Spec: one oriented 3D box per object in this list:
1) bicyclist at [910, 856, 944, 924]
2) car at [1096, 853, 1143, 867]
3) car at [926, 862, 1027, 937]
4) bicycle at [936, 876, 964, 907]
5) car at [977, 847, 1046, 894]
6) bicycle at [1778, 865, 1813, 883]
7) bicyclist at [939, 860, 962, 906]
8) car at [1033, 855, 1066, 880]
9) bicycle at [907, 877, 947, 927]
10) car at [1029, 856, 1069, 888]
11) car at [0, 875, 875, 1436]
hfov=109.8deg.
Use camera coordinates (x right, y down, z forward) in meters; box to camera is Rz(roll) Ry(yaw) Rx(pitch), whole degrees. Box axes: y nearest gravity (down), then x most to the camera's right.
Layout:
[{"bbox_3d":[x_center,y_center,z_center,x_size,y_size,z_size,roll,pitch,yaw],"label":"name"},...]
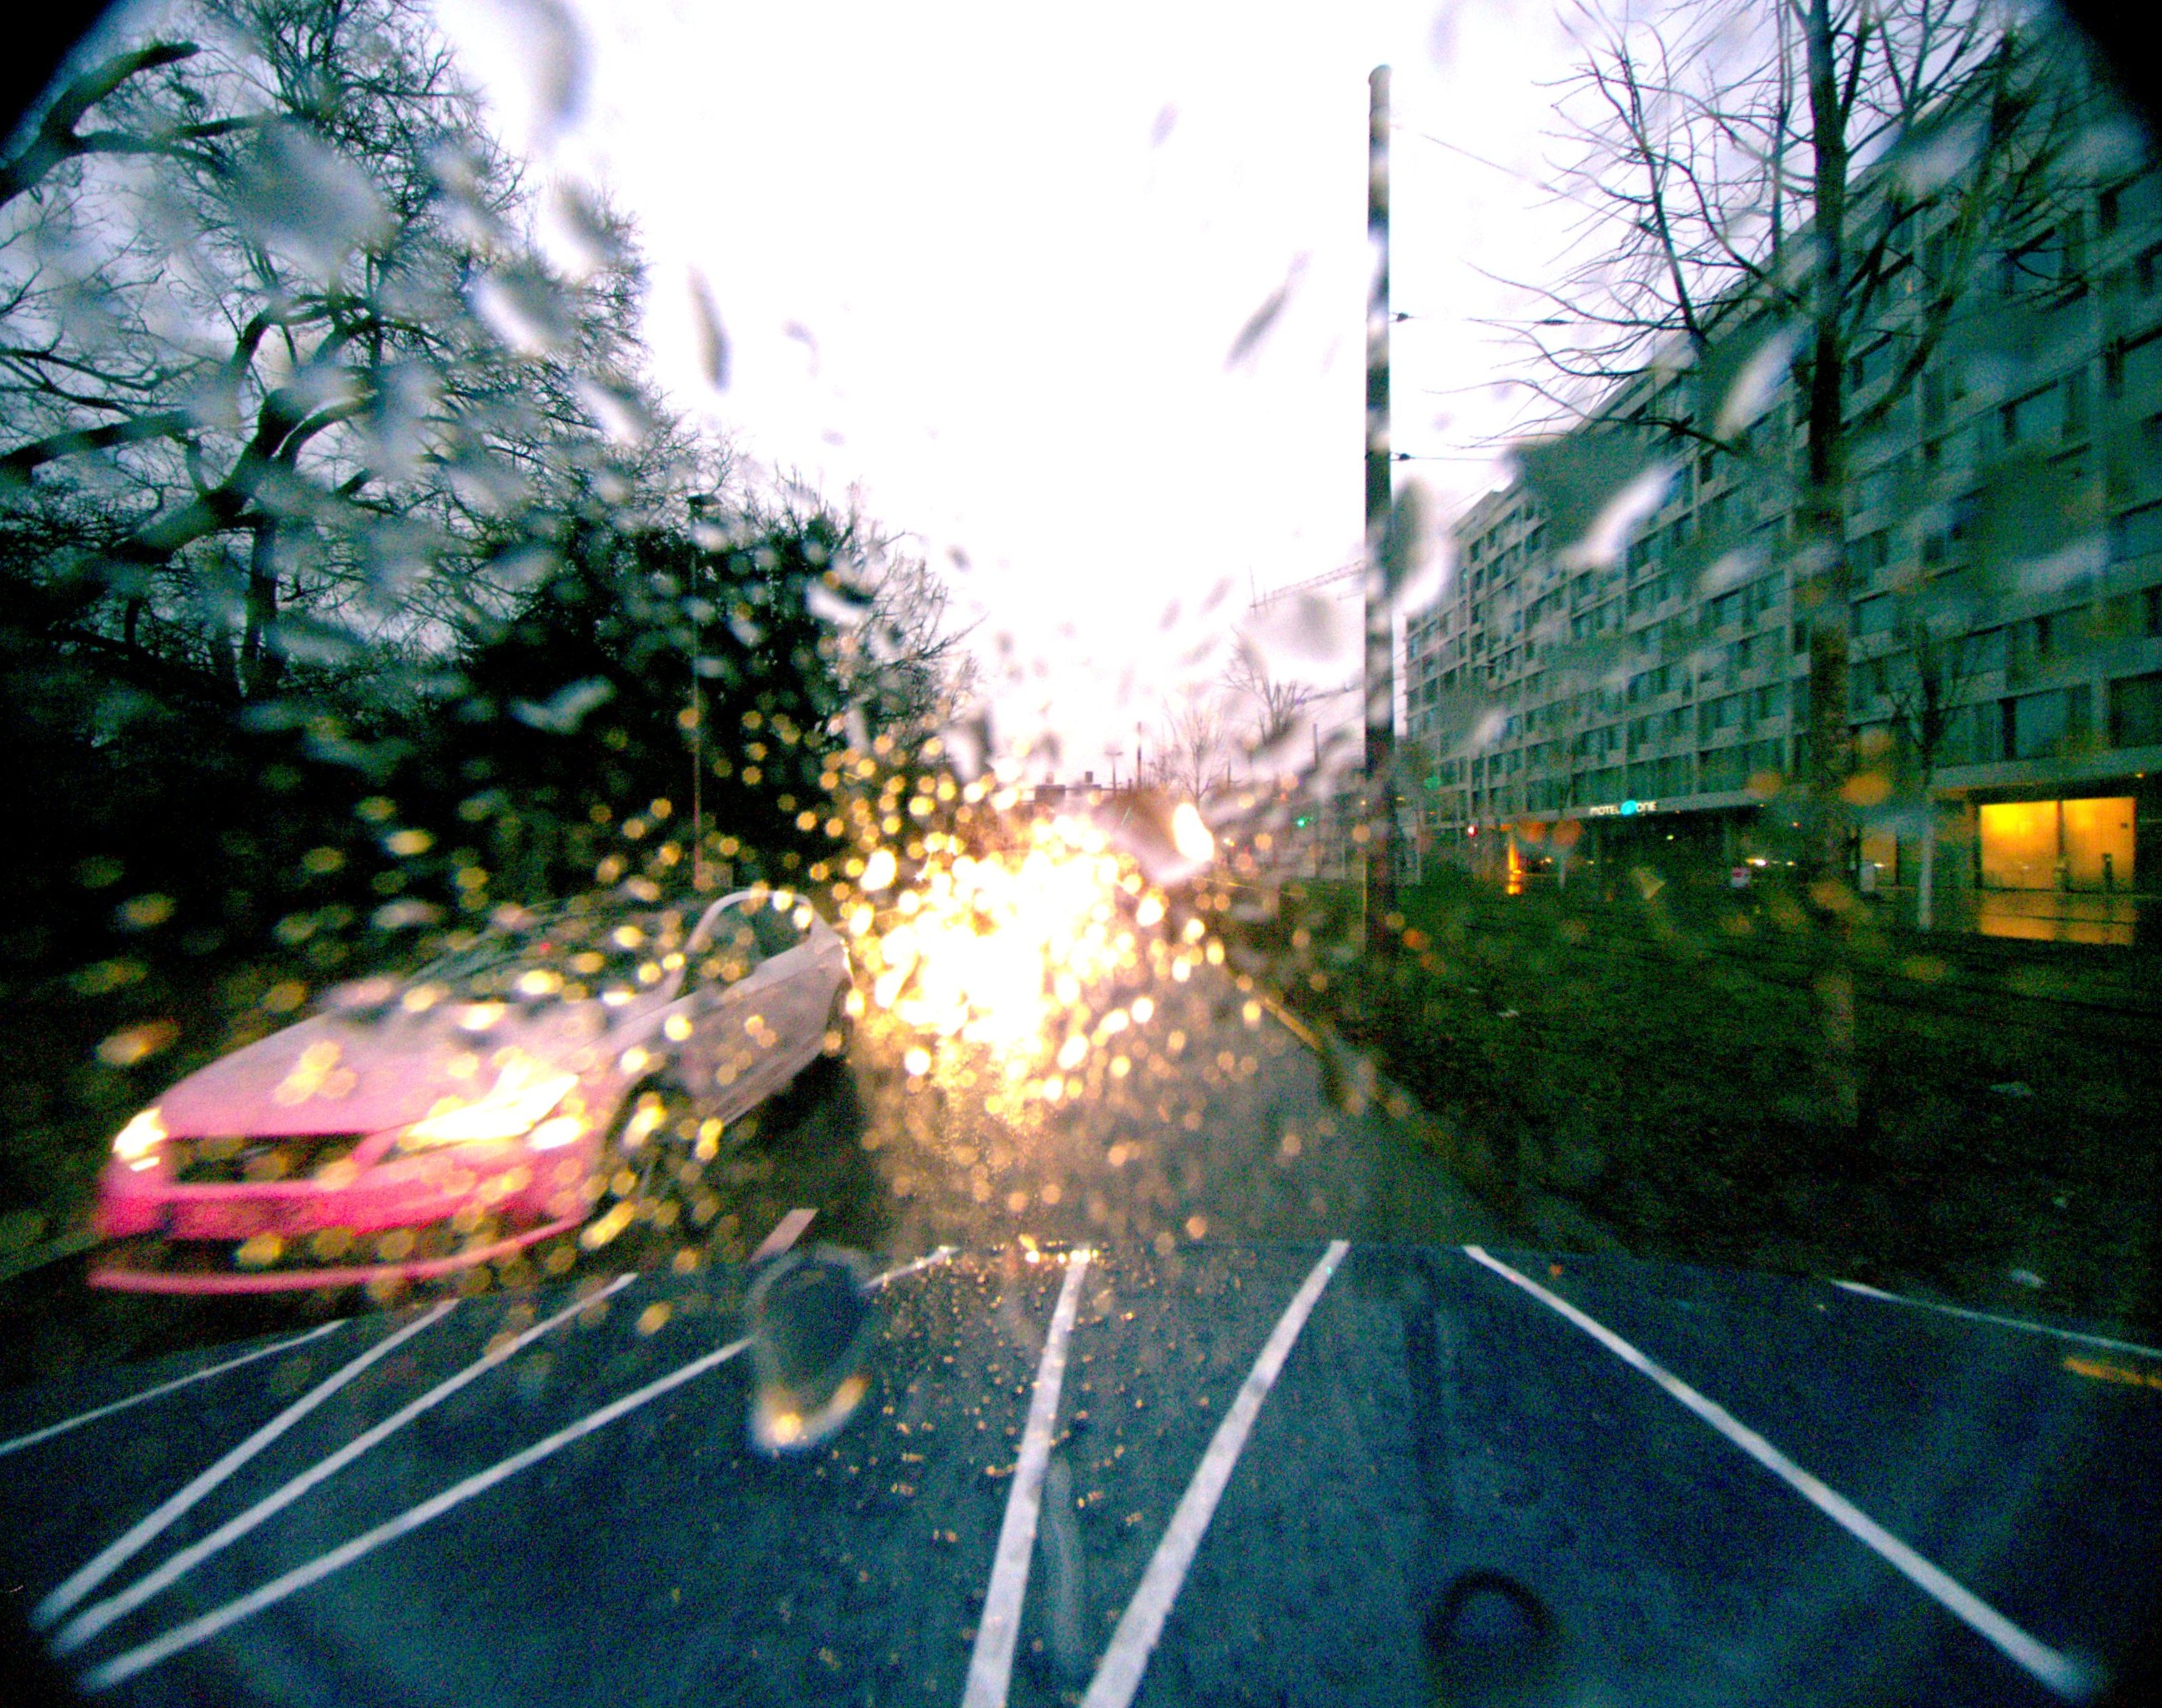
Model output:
[{"bbox_3d":[-5.242,1.210,25.913,0.968,2.210,0.934,-3,1,-7],"label":"bicyclist"},{"bbox_3d":[4.495,0.689,89.280,5.047,1.659,2.085,0,0,-17],"label":"car"},{"bbox_3d":[-2.596,1.093,19.968,2.073,1.618,4.267,-2,1,-1],"label":"car"},{"bbox_3d":[-4.968,1.414,28.966,0.691,1.036,1.721,-2,1,1],"label":"bicycle"},{"bbox_3d":[-2.566,0.570,29.120,2.073,1.618,4.268,-2,1,1],"label":"car"},{"bbox_3d":[36.311,0.997,38.636,1.349,0.849,0.465,-2,1,-1],"label":"bicycle"},{"bbox_3d":[-4.976,1.102,28.952,0.691,1.675,0.593,-2,1,1],"label":"bicyclist"},{"bbox_3d":[-2.195,0.897,52.189,1.999,1.618,4.266,-2,0,-5],"label":"car"},{"bbox_3d":[-5.232,1.590,26.044,0.968,1.442,3.387,-3,1,-6],"label":"bicycle"},{"bbox_3d":[-1.758,1.011,43.643,1.998,1.618,4.268,-2,1,1],"label":"car"},{"bbox_3d":[-2.730,0.956,4.343,1.886,1.552,4.171,0,0,1],"label":"car"}]
